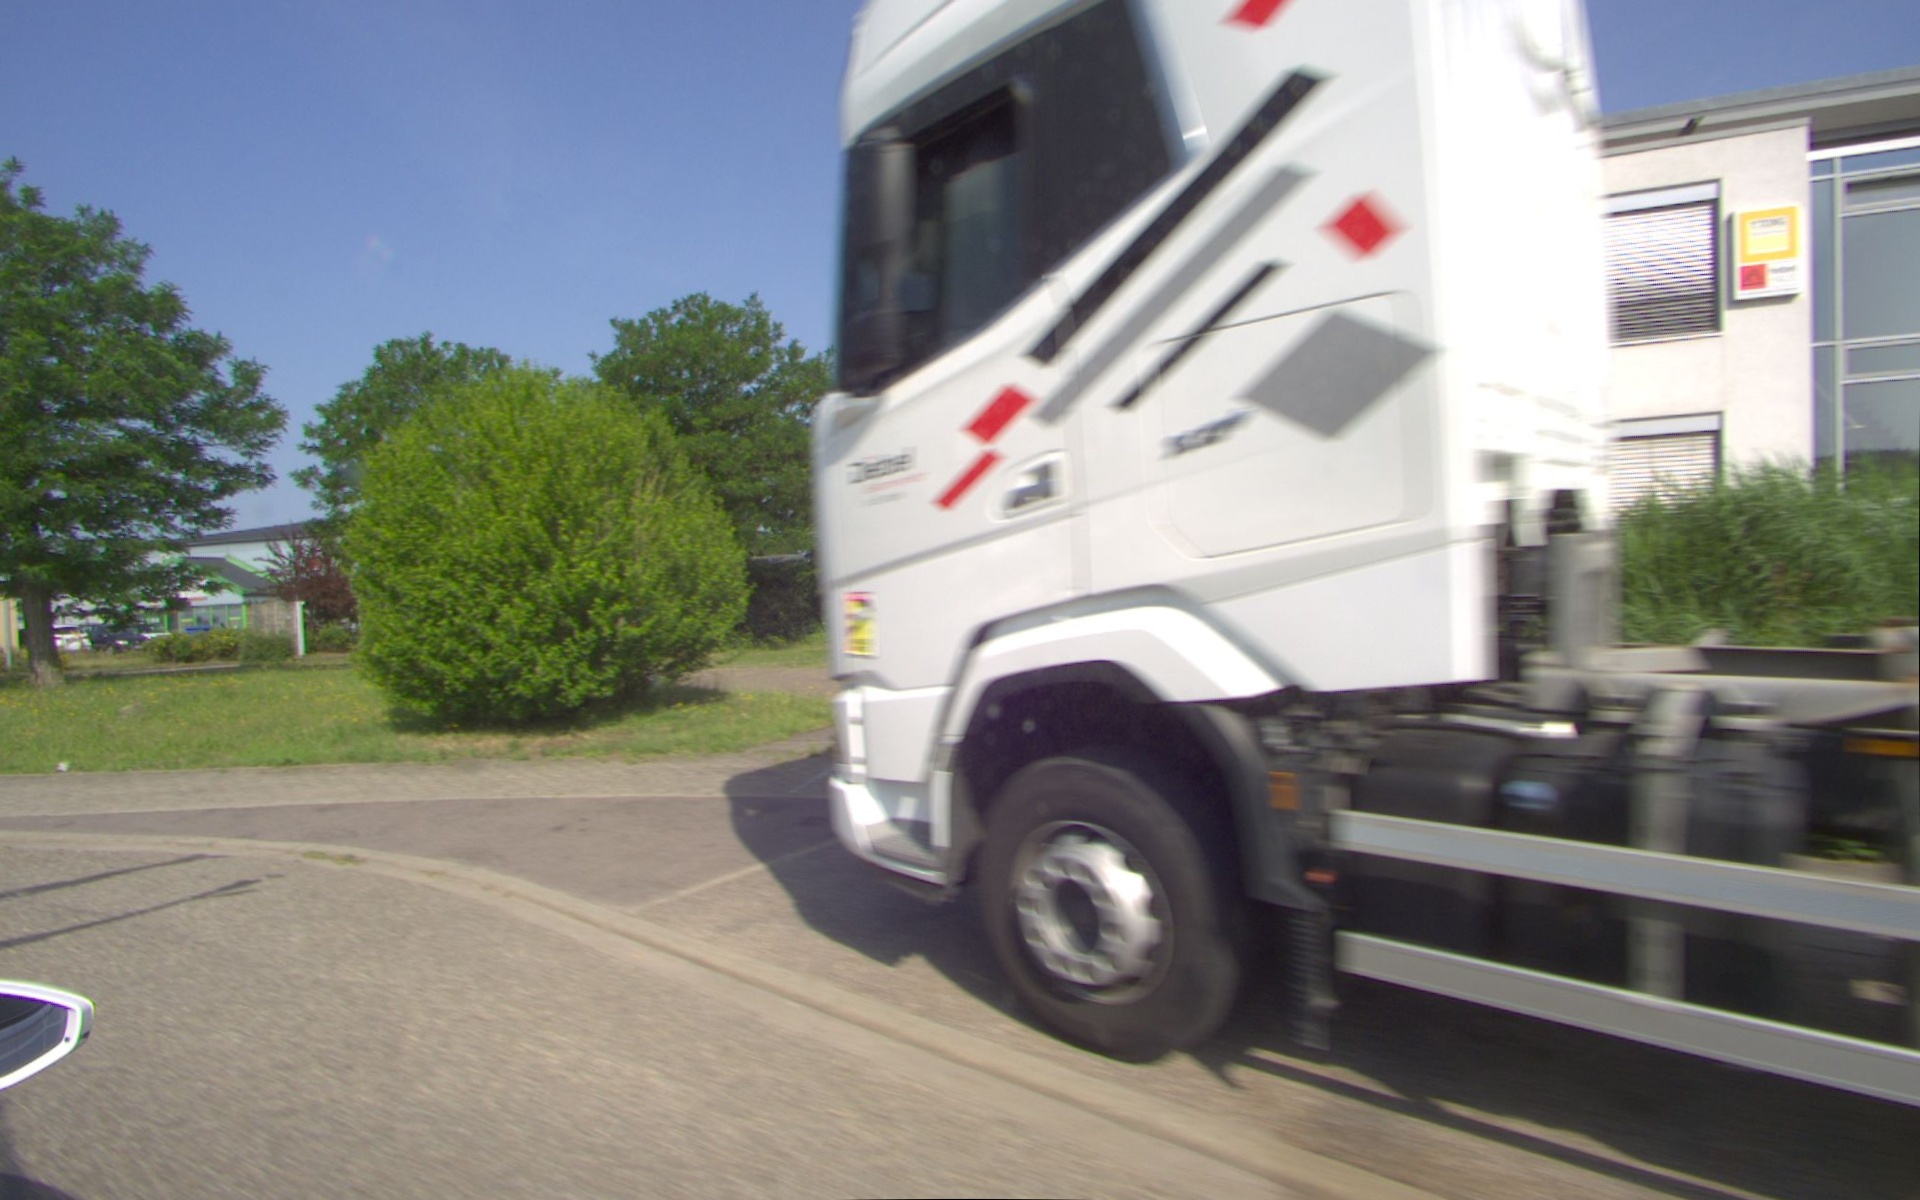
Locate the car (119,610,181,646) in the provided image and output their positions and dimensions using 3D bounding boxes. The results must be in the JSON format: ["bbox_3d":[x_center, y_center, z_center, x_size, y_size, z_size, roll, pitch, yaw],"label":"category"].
[{"bbox_3d":[-40.272,1.396,49.760,3.957,1.661,1.783,-3,-2,42],"label":"car"}]

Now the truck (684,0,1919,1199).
[{"bbox_3d":[1.395,-0.480,3.740,3.955,4.037,2.730,-1,3,41],"label":"truck"}]

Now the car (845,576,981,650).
[{"bbox_3d":[-1.105,0.364,25.744,1.796,1.727,3.987,-2,-2,26],"label":"car"}]

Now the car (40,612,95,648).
[{"bbox_3d":[-42.828,1.449,48.019,3.960,1.638,1.707,-3,-2,45],"label":"car"}]

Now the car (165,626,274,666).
[{"bbox_3d":[-27.541,1.698,37.251,3.604,1.390,1.749,-2,-2,25],"label":"car"}]

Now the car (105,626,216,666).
[{"bbox_3d":[-28.366,1.635,35.537,3.604,1.347,1.668,-2,-2,25],"label":"car"}]
